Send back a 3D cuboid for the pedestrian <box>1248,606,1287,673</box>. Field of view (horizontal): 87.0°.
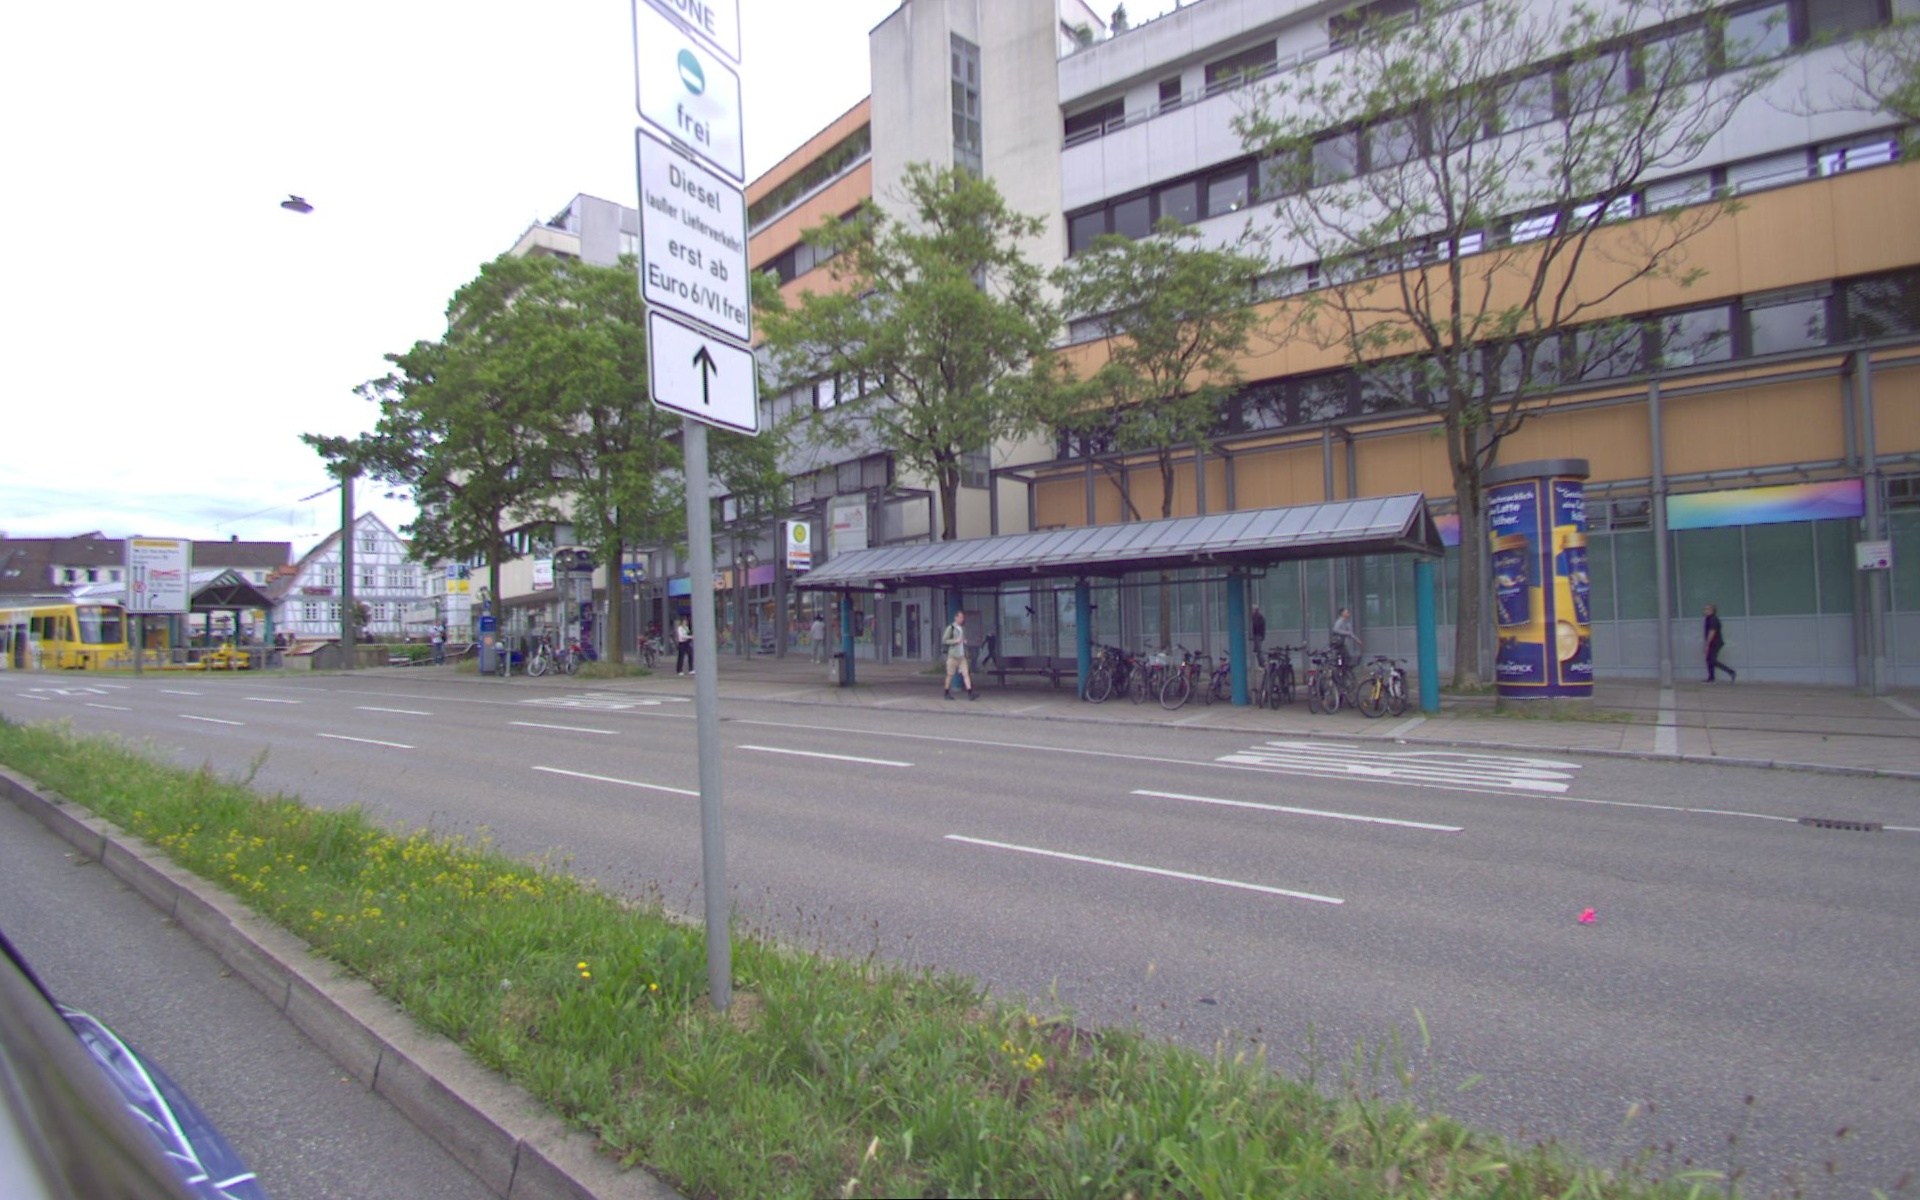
[{"bbox_3d":[8.183,1.048,26.911,0.787,1.729,0.764,-2,0,32],"label":"pedestrian"}]

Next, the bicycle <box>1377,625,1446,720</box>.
[{"bbox_3d":[7.850,1.204,17.524,0.597,1.518,2.875,-2,-3,33],"label":"bicycle"}]

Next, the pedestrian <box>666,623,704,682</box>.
[{"bbox_3d":[-8.207,1.555,30.193,0.705,1.726,0.768,-2,0,36],"label":"pedestrian"}]

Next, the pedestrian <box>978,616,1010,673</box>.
[{"bbox_3d":[0.999,1.297,29.654,0.622,1.612,0.626,-2,-1,38],"label":"pedestrian"}]

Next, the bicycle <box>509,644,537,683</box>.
[{"bbox_3d":[-13.623,1.960,31.573,0.594,1.170,1.971,0,-3,-17],"label":"bicycle"}]

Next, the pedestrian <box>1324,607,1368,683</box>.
[{"bbox_3d":[9.101,1.059,23.853,0.787,1.729,0.764,-2,0,33],"label":"pedestrian"}]

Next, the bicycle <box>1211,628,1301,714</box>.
[{"bbox_3d":[5.670,1.296,19.240,0.803,1.518,2.875,-2,-3,33],"label":"bicycle"}]

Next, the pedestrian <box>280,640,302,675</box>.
[{"bbox_3d":[-30.721,2.646,46.473,0.618,1.586,0.594,-3,-3,31],"label":"pedestrian"}]

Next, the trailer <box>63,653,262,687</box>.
[{"bbox_3d":[-36.098,3.129,45.581,12.077,1.343,2.821,-2,-3,30],"label":"trailer"}]

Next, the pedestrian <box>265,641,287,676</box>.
[{"bbox_3d":[-30.984,2.649,45.861,0.618,1.586,0.594,-3,-3,31],"label":"pedestrian"}]

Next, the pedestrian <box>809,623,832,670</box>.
[{"bbox_3d":[-4.885,1.628,35.436,0.623,1.612,0.624,-2,-1,-17],"label":"pedestrian"}]

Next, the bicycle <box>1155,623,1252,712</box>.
[{"bbox_3d":[4.784,1.259,19.695,0.810,1.518,2.874,-2,0,35],"label":"bicycle"}]

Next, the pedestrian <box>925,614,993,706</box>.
[{"bbox_3d":[-0.026,1.221,20.954,1.212,1.836,0.697,-1,0,39],"label":"pedestrian"}]

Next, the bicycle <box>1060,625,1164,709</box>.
[{"bbox_3d":[3.154,1.325,20.734,0.969,1.518,2.875,-2,-1,33],"label":"bicycle"}]

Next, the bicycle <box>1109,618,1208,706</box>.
[{"bbox_3d":[4.002,1.181,20.195,0.889,1.518,2.876,-2,0,33],"label":"bicycle"}]

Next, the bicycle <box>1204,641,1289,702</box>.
[{"bbox_3d":[5.811,1.402,20.390,0.803,1.121,2.875,-2,-3,33],"label":"bicycle"}]

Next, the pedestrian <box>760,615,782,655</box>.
[{"bbox_3d":[-8.133,1.513,43.614,0.667,1.713,0.644,-2,-3,33],"label":"pedestrian"}]

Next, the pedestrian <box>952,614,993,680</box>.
[{"bbox_3d":[0.343,1.248,27.416,0.763,1.729,0.789,-2,0,-31],"label":"pedestrian"}]

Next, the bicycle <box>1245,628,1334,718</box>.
[{"bbox_3d":[6.075,1.276,18.534,0.803,1.518,2.875,-2,-3,33],"label":"bicycle"}]

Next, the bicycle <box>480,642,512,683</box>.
[{"bbox_3d":[-14.494,1.923,31.638,0.594,1.170,1.971,-2,-1,-16],"label":"bicycle"}]

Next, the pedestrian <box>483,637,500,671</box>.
[{"bbox_3d":[-23.983,2.768,51.782,0.626,1.713,0.545,-2,-3,32],"label":"pedestrian"}]

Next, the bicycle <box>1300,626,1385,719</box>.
[{"bbox_3d":[6.834,1.242,17.992,0.776,1.518,2.875,-2,-3,33],"label":"bicycle"}]

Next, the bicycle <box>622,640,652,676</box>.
[{"bbox_3d":[-10.895,1.939,34.194,0.663,1.170,2.022,-1,-3,-9],"label":"bicycle"}]

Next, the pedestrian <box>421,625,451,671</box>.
[{"bbox_3d":[-21.752,2.001,42.008,0.871,1.892,0.738,-2,-3,34],"label":"pedestrian"}]

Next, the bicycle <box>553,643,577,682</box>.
[{"bbox_3d":[-12.273,1.917,31.465,0.594,1.170,1.694,0,-3,-17],"label":"bicycle"}]

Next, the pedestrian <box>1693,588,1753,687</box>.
[{"bbox_3d":[16.120,0.794,21.398,0.932,2.029,0.888,-2,-3,36],"label":"pedestrian"}]

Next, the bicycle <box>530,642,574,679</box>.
[{"bbox_3d":[-13.164,1.946,32.633,0.596,1.170,1.966,2,-4,-44],"label":"bicycle"}]

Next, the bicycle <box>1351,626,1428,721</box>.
[{"bbox_3d":[7.507,1.216,17.610,0.698,1.518,2.875,-2,-3,33],"label":"bicycle"}]

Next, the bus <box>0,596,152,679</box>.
[{"bbox_3d":[-49.573,2.141,53.615,19.263,3.889,3.850,-2,-3,30],"label":"bus"}]
